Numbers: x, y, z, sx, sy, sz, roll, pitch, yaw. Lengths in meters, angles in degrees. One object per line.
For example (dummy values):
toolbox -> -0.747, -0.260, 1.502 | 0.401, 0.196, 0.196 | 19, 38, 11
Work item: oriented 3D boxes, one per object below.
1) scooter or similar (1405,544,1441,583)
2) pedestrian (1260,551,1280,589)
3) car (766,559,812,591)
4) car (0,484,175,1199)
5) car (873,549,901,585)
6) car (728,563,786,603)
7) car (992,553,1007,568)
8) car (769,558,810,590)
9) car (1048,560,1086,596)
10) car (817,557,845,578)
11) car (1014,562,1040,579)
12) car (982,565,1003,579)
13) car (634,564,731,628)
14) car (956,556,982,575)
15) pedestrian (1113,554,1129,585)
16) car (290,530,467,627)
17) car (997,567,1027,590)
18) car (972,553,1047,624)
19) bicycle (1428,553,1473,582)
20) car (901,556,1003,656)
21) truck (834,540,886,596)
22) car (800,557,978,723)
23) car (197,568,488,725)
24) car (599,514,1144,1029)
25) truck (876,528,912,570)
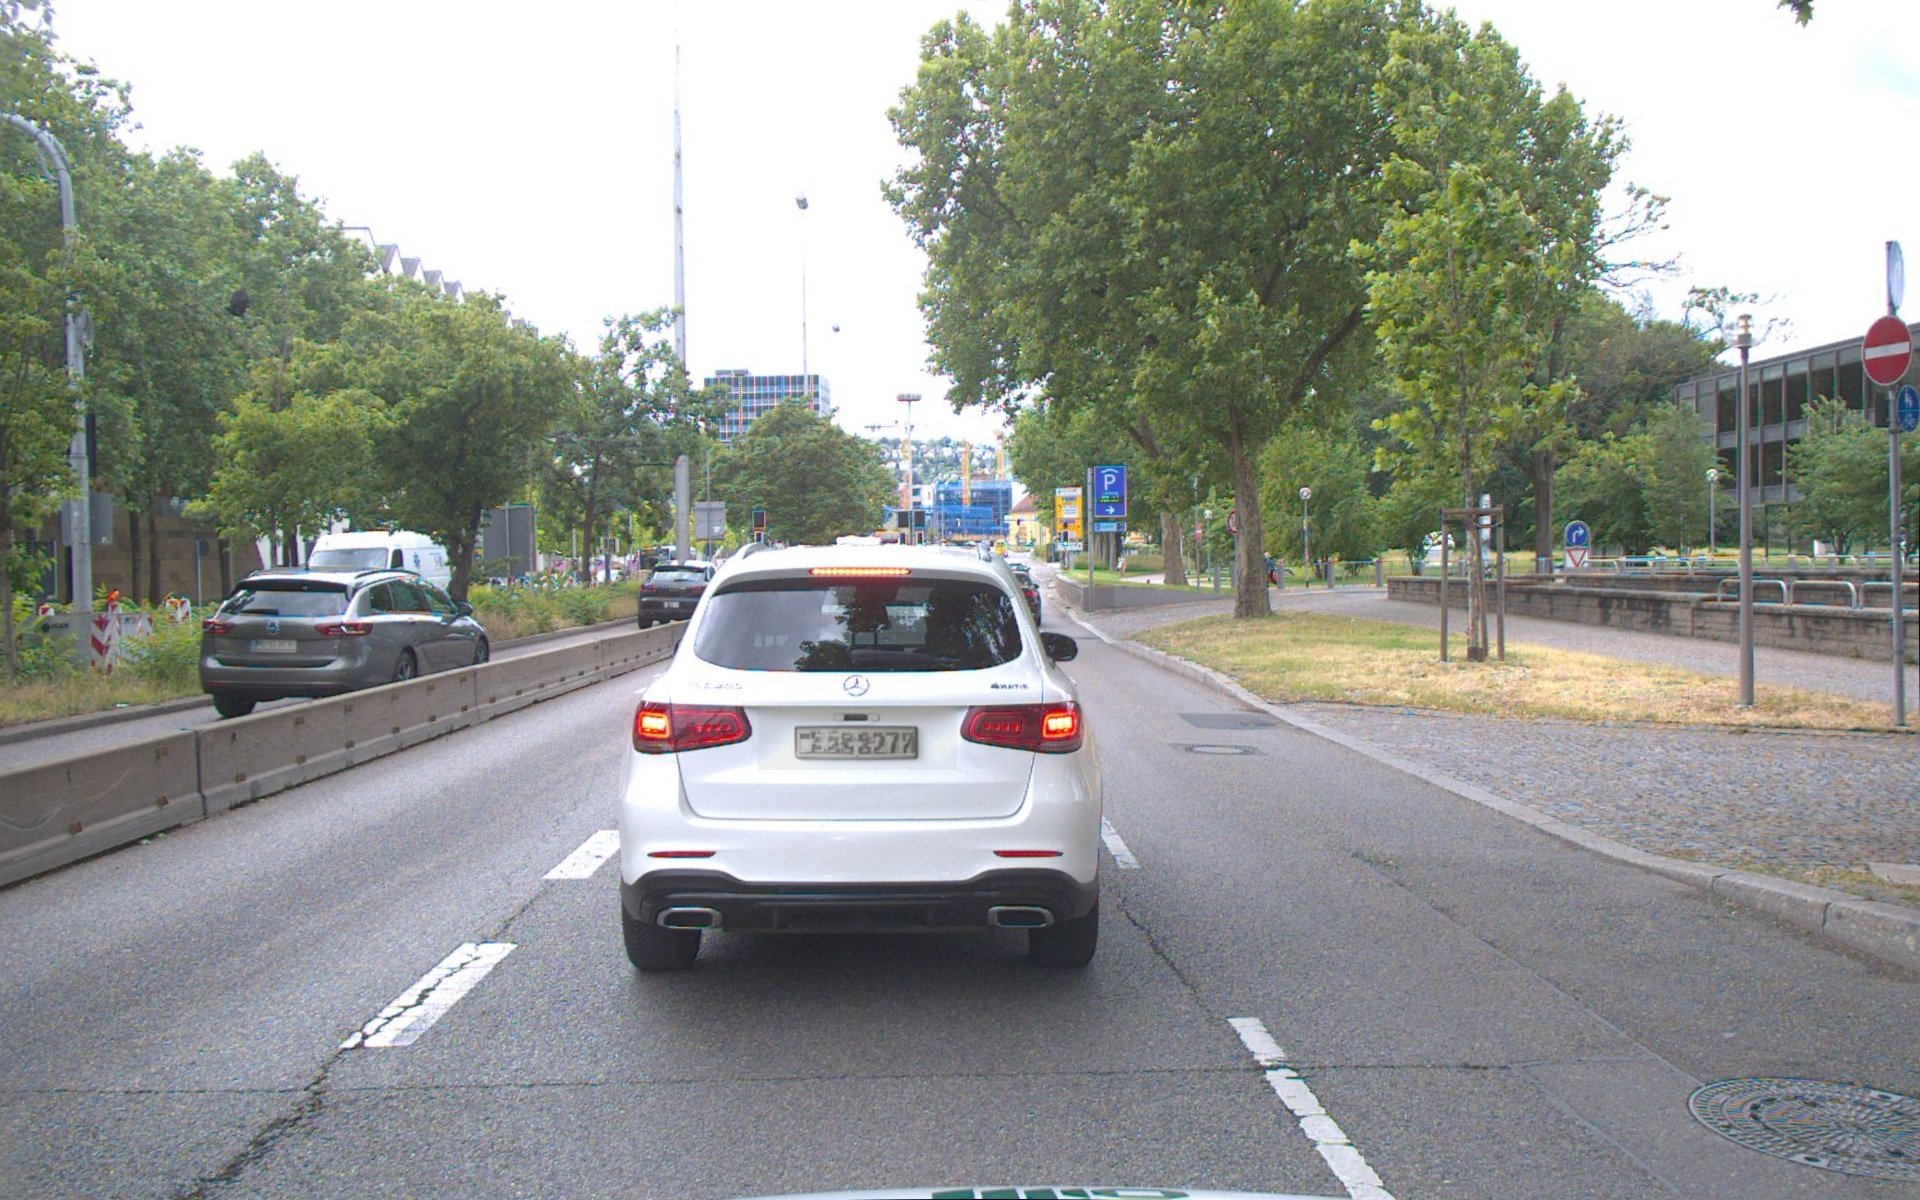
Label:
scooter or similar -> 15.717, -1.231, 56.194 | 0.622, 1.267, 2.226 | 1, 0, 2
pedestrian -> 13.406, -1.291, 71.525 | 0.626, 1.639, 0.662 | 0, 1, 29
car -> -7.421, -1.079, 72.011 | 1.625, 1.342, 3.547 | 0, 1, -1
car -> -2.937, 0.598, 1.859 | 1.813, 1.656, 4.906 | 0, 1, -1
car -> -5.304, -2.378, 119.718 | 1.954, 2.518, 3.998 | -1, 1, -3
car -> -7.001, -0.602, 57.286 | 1.625, 1.342, 3.547 | 0, 1, -1
car -> 4.696, -4.657, 196.434 | 1.722, 1.698, 4.168 | -1, 1, 0
car -> -8.329, -1.282, 81.025 | 1.625, 1.539, 3.547 | -1, 1, -1
car -> 6.088, -1.264, 94.807 | 1.952, 2.049, 4.000 | 0, 1, 0
car -> -8.656, -2.183, 111.194 | 1.625, 1.342, 3.548 | 0, 1, 0
car -> 5.304, -2.337, 131.512 | 1.907, 1.342, 4.017 | 0, 1, 0
car -> 3.053, -2.627, 156.691 | 1.907, 1.342, 4.017 | 0, 1, 0
car -> -6.741, -0.134, 40.567 | 1.740, 1.444, 4.000 | -1, 1, -1
car -> 0.653, -2.522, 121.043 | 1.907, 1.342, 4.017 | 0, 1, 0
pedestrian -> 10.447, -1.977, 107.114 | 0.746, 2.048, 0.696 | 0, 1, 35
car -> -13.065, -0.516, 37.607 | 2.072, 2.003, 5.578 | -1, 1, -1
car -> 3.392, -1.406, 108.329 | 1.907, 1.453, 4.017 | 0, 1, 0
car -> 1.270, -0.345, 44.245 | 1.788, 1.783, 3.999 | -1, 1, -1
bicycle -> 18.608, -1.230, 62.810 | 0.934, 1.082, 2.335 | 1, 0, -1
car -> -0.190, 0.069, 29.283 | 1.626, 1.667, 3.545 | 0, 1, -3
truck -> -5.431, -1.749, 90.420 | 2.568, 2.911, 7.077 | 0, 1, -2
car -> -0.866, 0.366, 18.232 | 1.761, 1.636, 3.751 | 0, 1, -5
car -> -6.294, 0.411, 17.320 | 1.627, 1.461, 3.959 | 0, 1, -1
car -> -0.352, 0.519, 7.566 | 1.752, 1.653, 4.436 | 0, 1, -2
truck -> -5.012, -3.883, 126.289 | 2.637, 3.044, 5.636 | 1, 0, -2
